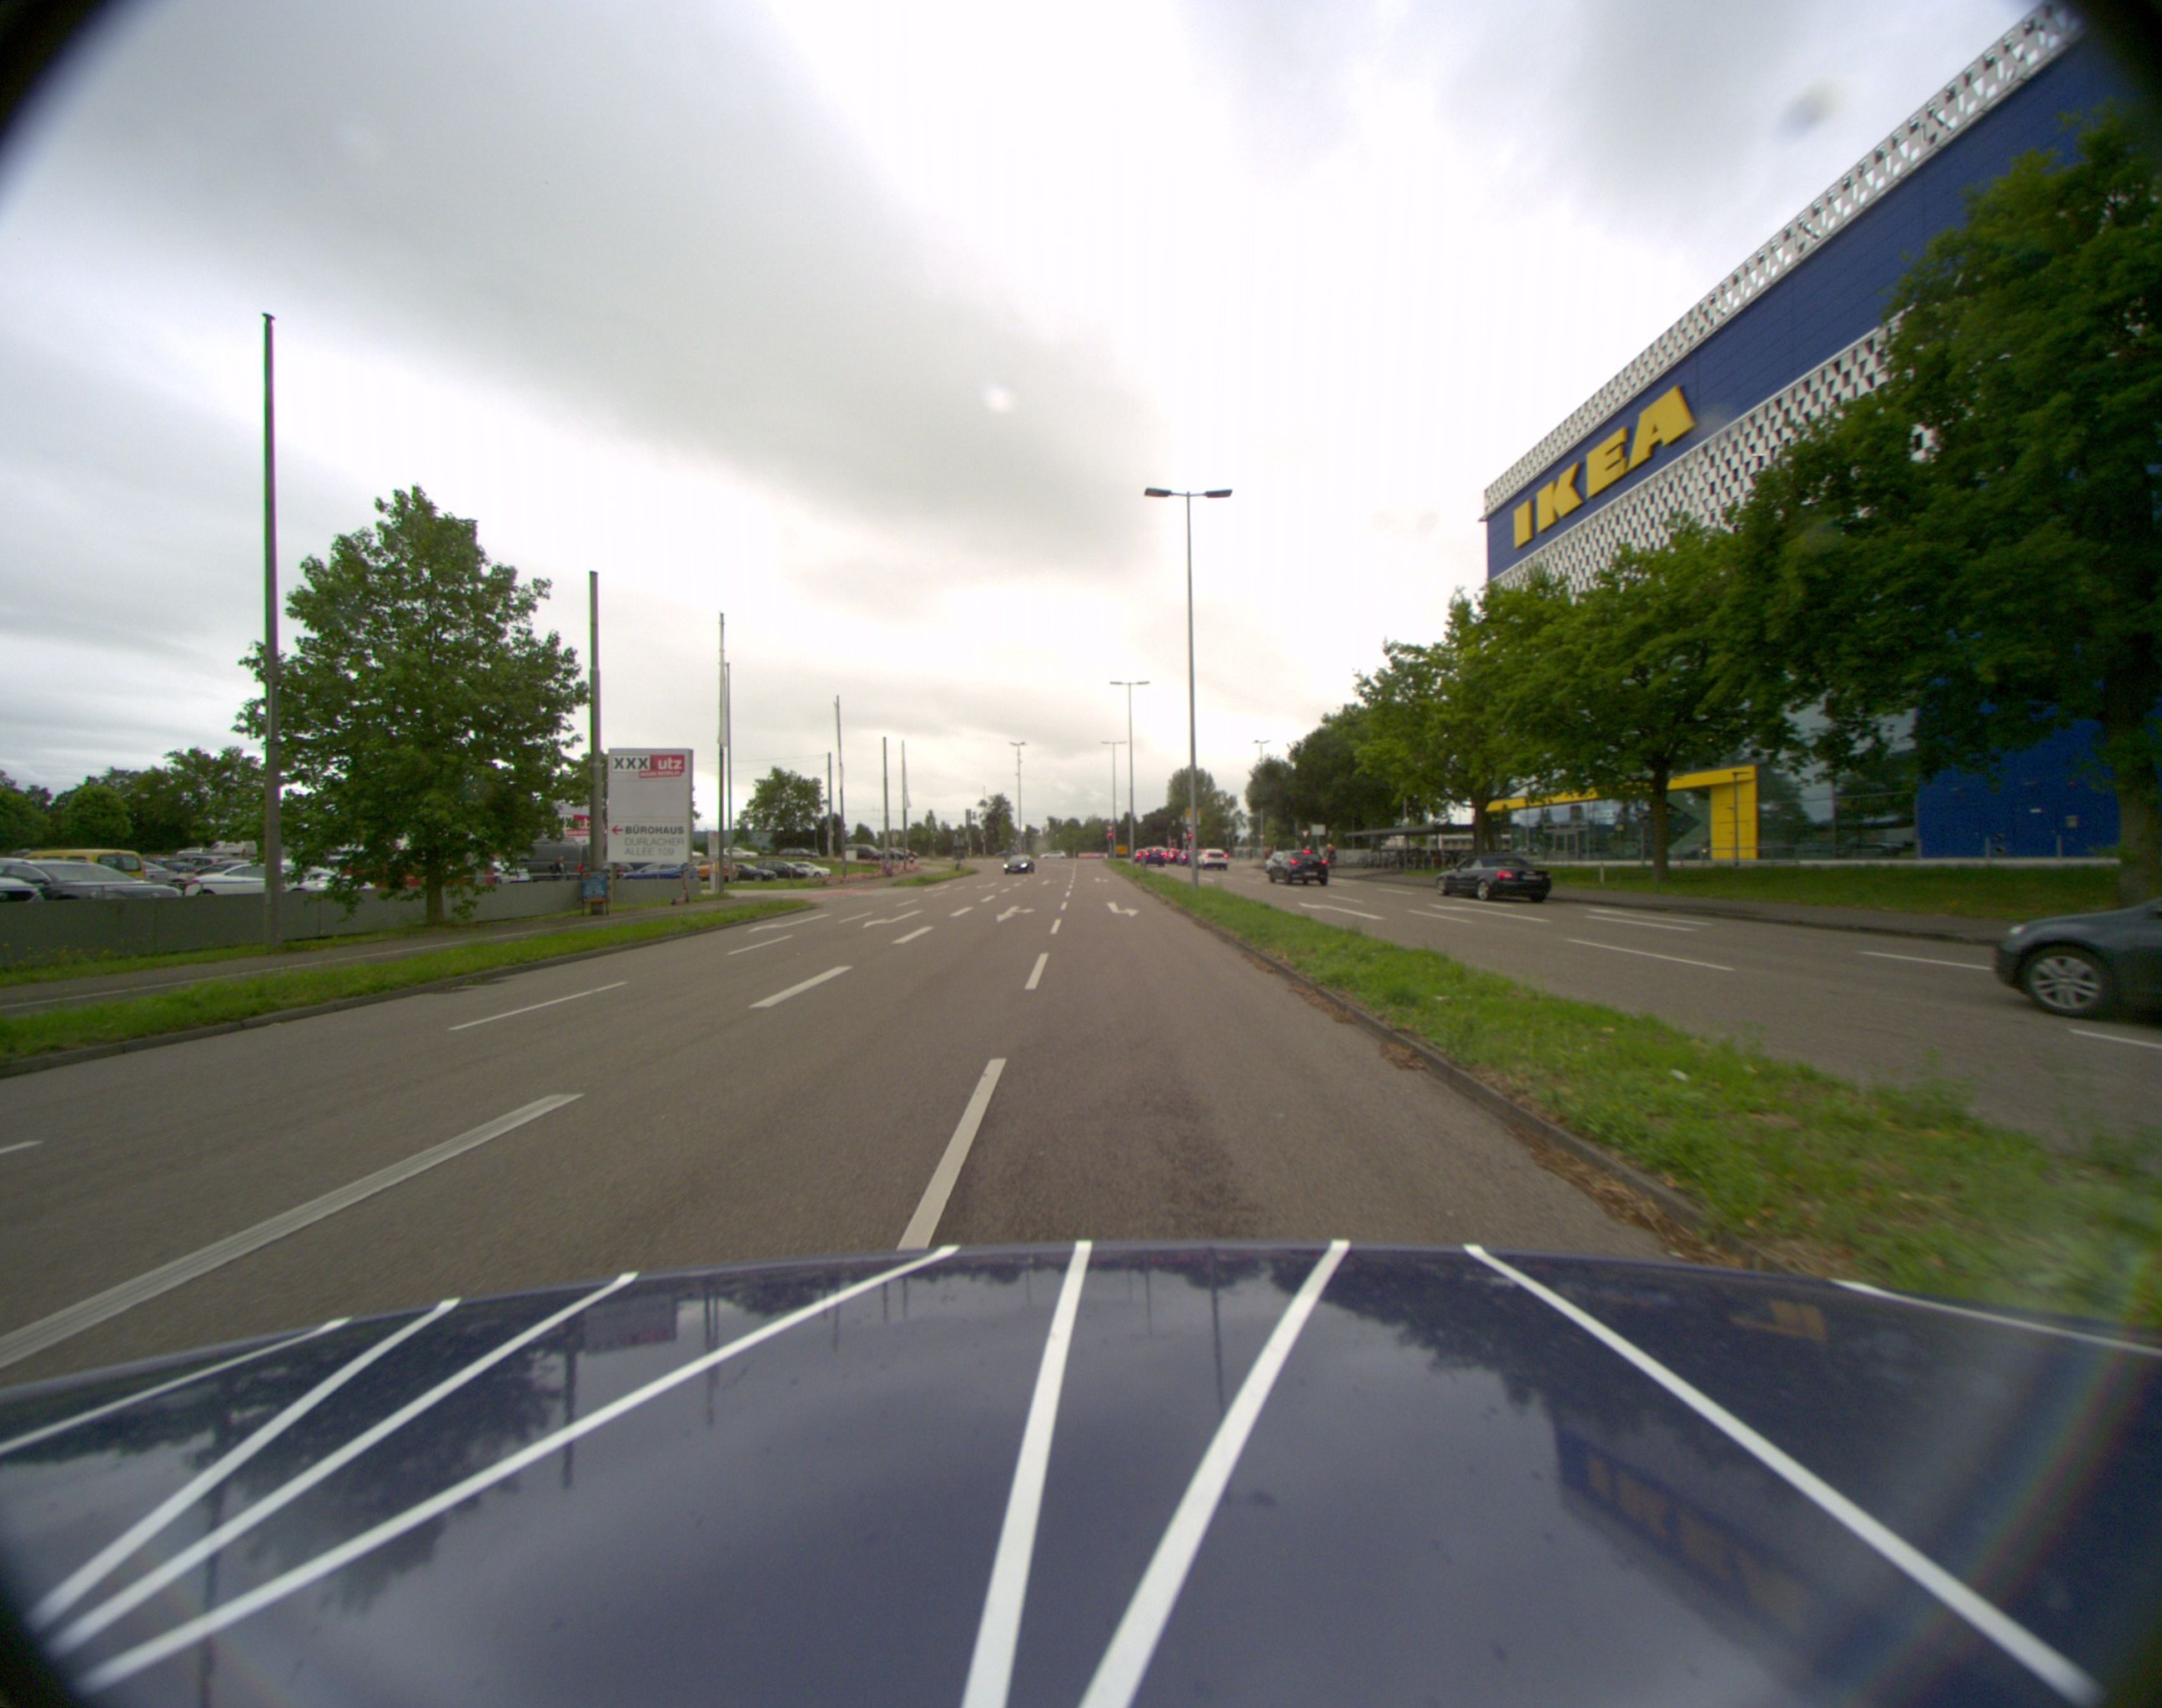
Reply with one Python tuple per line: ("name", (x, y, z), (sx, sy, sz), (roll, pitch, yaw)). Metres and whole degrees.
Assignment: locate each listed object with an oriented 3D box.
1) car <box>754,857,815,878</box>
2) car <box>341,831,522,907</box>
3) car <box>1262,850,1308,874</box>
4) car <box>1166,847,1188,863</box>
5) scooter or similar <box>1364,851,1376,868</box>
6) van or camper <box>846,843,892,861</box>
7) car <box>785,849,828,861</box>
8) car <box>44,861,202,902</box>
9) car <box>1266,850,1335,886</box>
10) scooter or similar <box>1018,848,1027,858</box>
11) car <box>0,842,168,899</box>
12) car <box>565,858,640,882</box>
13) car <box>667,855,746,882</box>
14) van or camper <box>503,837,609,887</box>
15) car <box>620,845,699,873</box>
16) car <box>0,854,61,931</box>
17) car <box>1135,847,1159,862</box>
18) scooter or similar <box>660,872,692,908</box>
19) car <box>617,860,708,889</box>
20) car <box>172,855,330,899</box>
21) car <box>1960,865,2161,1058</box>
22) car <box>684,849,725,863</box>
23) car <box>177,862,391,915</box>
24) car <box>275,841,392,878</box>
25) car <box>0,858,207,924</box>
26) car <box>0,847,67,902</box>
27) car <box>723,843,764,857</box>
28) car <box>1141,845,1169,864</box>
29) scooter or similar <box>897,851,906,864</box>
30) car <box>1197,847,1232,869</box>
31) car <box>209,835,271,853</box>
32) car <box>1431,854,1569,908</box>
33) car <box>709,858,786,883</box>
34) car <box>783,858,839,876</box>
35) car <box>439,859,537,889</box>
("car", (-23.365, 1.047, 59.960), (4.103, 1.574, 1.769), (-1, -1, -3))
("car", (-23.332, 0.560, 27.435), (4.734, 2.563, 2.171), (-1, -1, 2))
("car", (13.098, 0.466, 48.944), (1.870, 1.446, 4.168), (0, 1, 1))
("car", (9.562, 0.089, 76.236), (1.666, 1.494, 4.064), (-1, 1, 0))
("scooter or similar", (20.792, 0.388, 54.675), (0.358, 1.178, 1.295), (-2, 1, 38))
("van or camper", (-24.514, -0.235, 87.955), (4.743, 2.003, 2.125), (1, 3, 16))
("car", (-32.365, 0.129, 89.747), (4.316, 1.455, 1.970), (0, 0, 6))
("car", (-38.047, 1.089, 30.249), (4.249, 1.460, 1.740), (-1, -1, 2))
("car", (9.371, 0.566, 32.795), (1.762, 1.445, 3.999), (0, 1, -1))
("scooter or similar", (-7.163, -0.111, 93.313), (1.016, 1.249, 0.465), (1, 2, 14))
("car", (-33.285, 0.558, 25.302), (3.745, 1.757, 1.734), (-1, -1, 2))
("car", (-33.091, 1.085, 52.590), (3.995, 1.547, 1.948), (-1, 1, 6))
("car", (-23.320, 0.889, 47.364), (3.995, 1.634, 1.816), (-1, 1, 5))
("van or camper", (-32.504, 0.463, 47.101), (5.390, 2.966, 1.992), (-1, 1, 7))
("car", (-33.143, 0.404, 59.842), (5.046, 2.153, 2.123), (0, 1, 5))
("car", (-23.361, 0.798, 15.058), (4.063, 1.531, 1.764), (-1, -1, 2))
("car", (6.812, 0.060, 78.829), (1.888, 1.428, 4.430), (1, 1, -2))
("scooter or similar", (-13.650, 1.200, 25.629), (0.371, 1.184, 1.248), (-1, 0, 1))
("car", (-23.251, 1.117, 42.312), (3.996, 1.447, 1.814), (-1, 1, 2))
("car", (-33.042, 0.923, 30.320), (4.422, 1.574, 1.835), (-1, -1, 2))
("car", (9.129, 0.845, 5.029), (1.784, 1.447, 4.182), (1, 0, 1))
("car", (-44.576, 0.245, 90.002), (4.073, 1.592, 1.747), (-1, -1, -2))
("car", (-23.496, 1.010, 22.532), (4.384, 1.452, 1.961), (-1, -2, 2))
("car", (-63.971, 0.483, 65.177), (6.949, 2.971, 2.768), (-1, -1, -6))
("car", (-23.503, 0.864, 17.607), (4.476, 1.410, 1.868), (-1, -2, 2))
("car", (-33.234, 0.642, 22.506), (3.996, 1.586, 1.880), (-1, -1, 2))
("car", (-39.959, -0.493, 89.905), (4.043, 1.529, 1.734), (0, -1, 0))
("car", (6.210, 0.011, 64.299), (1.936, 1.477, 4.438), (1, 1, 0))
("scooter or similar", (-18.002, 0.345, 76.307), (0.347, 1.226, 1.162), (-3, 3, -37))
("car", (9.949, 0.249, 57.013), (1.936, 1.510, 4.180), (0, 2, 0))
("car", (-125.324, -1.466, 113.242), (5.897, 2.610, 2.664), (0, -1, -5))
("car", (12.832, 0.760, 23.635), (1.776, 1.443, 4.404), (1, 1, -1))
("car", (-22.861, 1.110, 52.247), (4.542, 1.574, 1.767), (-1, 2, -13))
("car", (-23.142, 1.117, 65.316), (4.117, 1.437, 1.876), (-1, -2, -1))
("car", (-33.024, 1.090, 42.387), (3.996, 1.543, 1.863), (-1, 1, 1))
